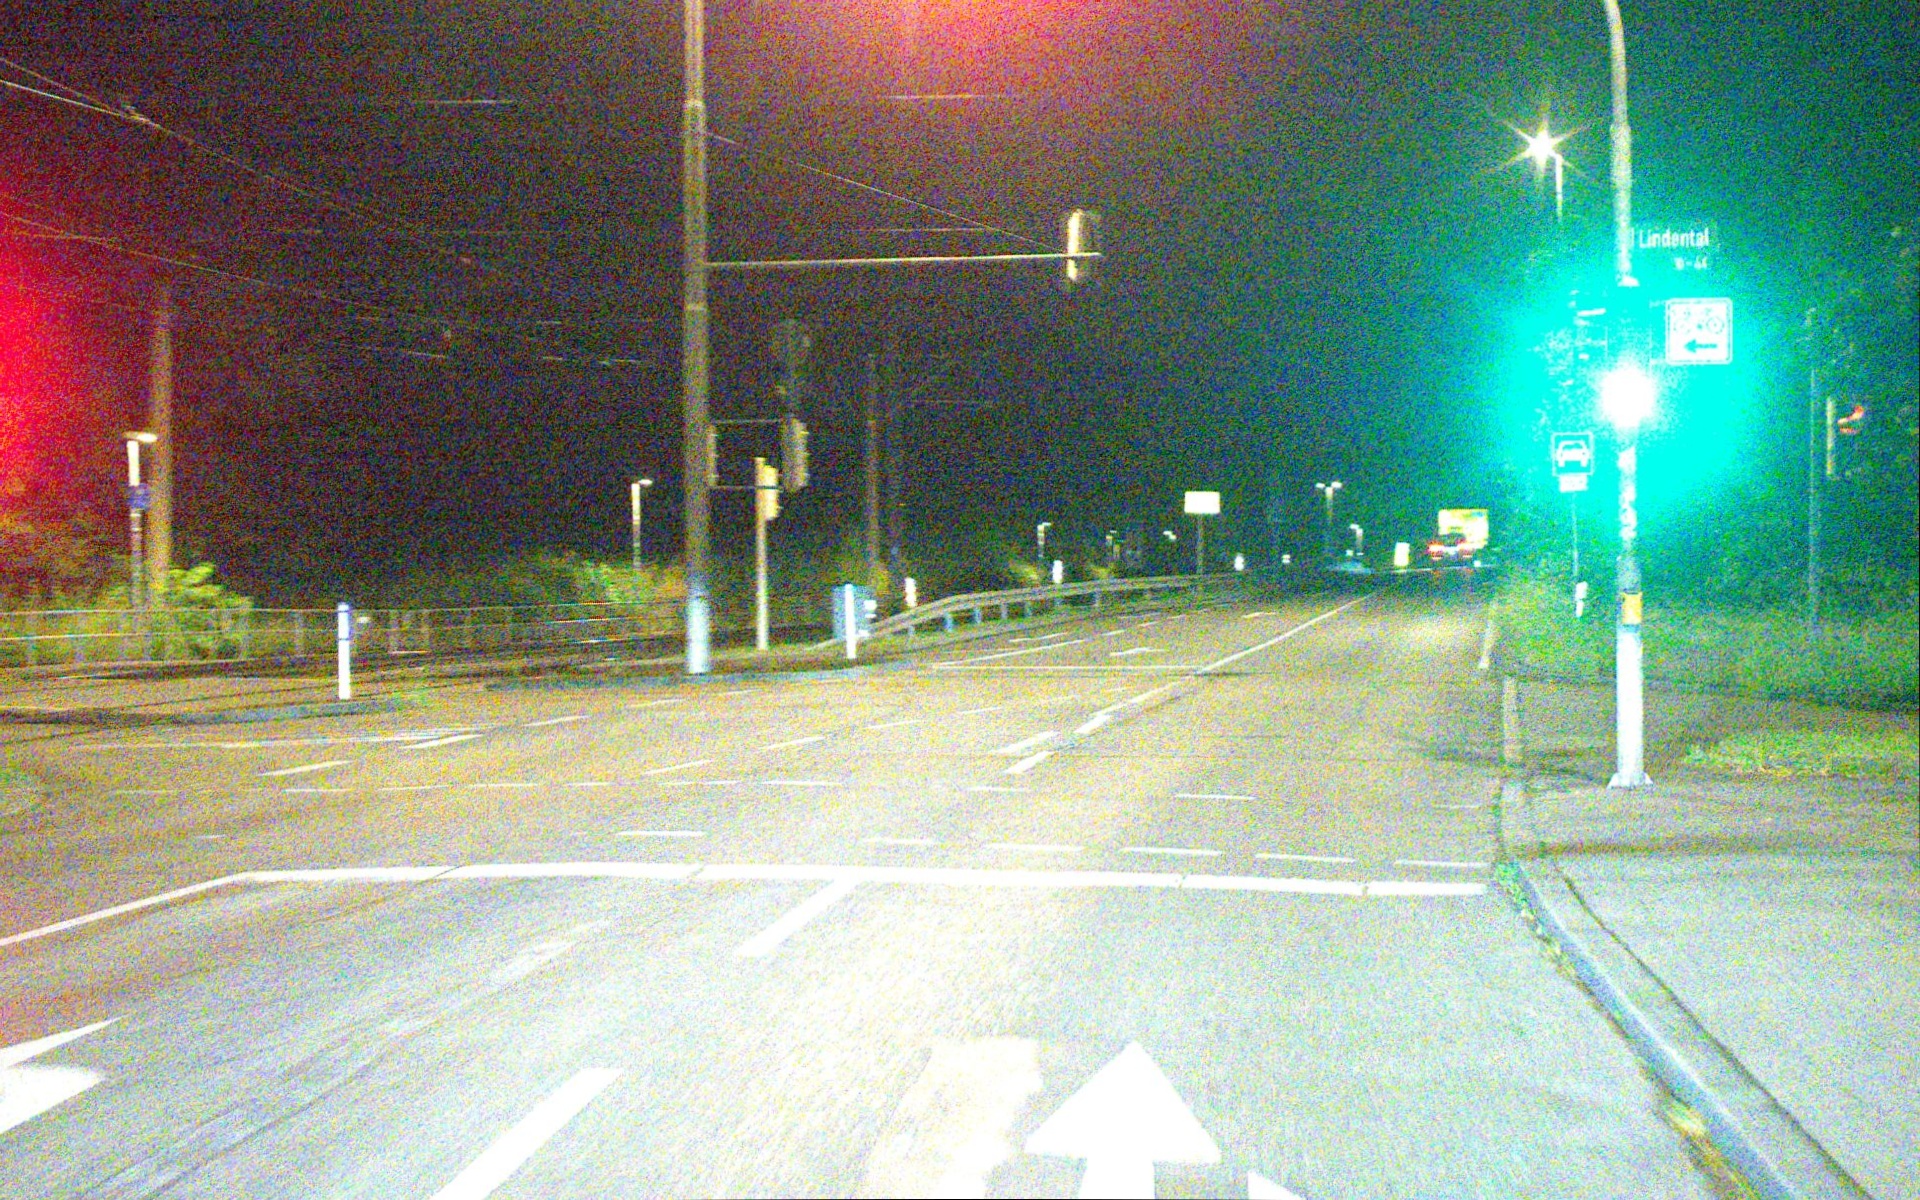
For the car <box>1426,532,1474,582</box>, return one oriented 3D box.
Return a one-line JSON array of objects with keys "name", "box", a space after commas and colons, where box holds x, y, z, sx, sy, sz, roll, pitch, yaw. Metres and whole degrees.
[{"name": "car", "box": [21.522, -1.886, 150.955, 1.994, 2.007, 3.998, 1, -2, 8]}]
